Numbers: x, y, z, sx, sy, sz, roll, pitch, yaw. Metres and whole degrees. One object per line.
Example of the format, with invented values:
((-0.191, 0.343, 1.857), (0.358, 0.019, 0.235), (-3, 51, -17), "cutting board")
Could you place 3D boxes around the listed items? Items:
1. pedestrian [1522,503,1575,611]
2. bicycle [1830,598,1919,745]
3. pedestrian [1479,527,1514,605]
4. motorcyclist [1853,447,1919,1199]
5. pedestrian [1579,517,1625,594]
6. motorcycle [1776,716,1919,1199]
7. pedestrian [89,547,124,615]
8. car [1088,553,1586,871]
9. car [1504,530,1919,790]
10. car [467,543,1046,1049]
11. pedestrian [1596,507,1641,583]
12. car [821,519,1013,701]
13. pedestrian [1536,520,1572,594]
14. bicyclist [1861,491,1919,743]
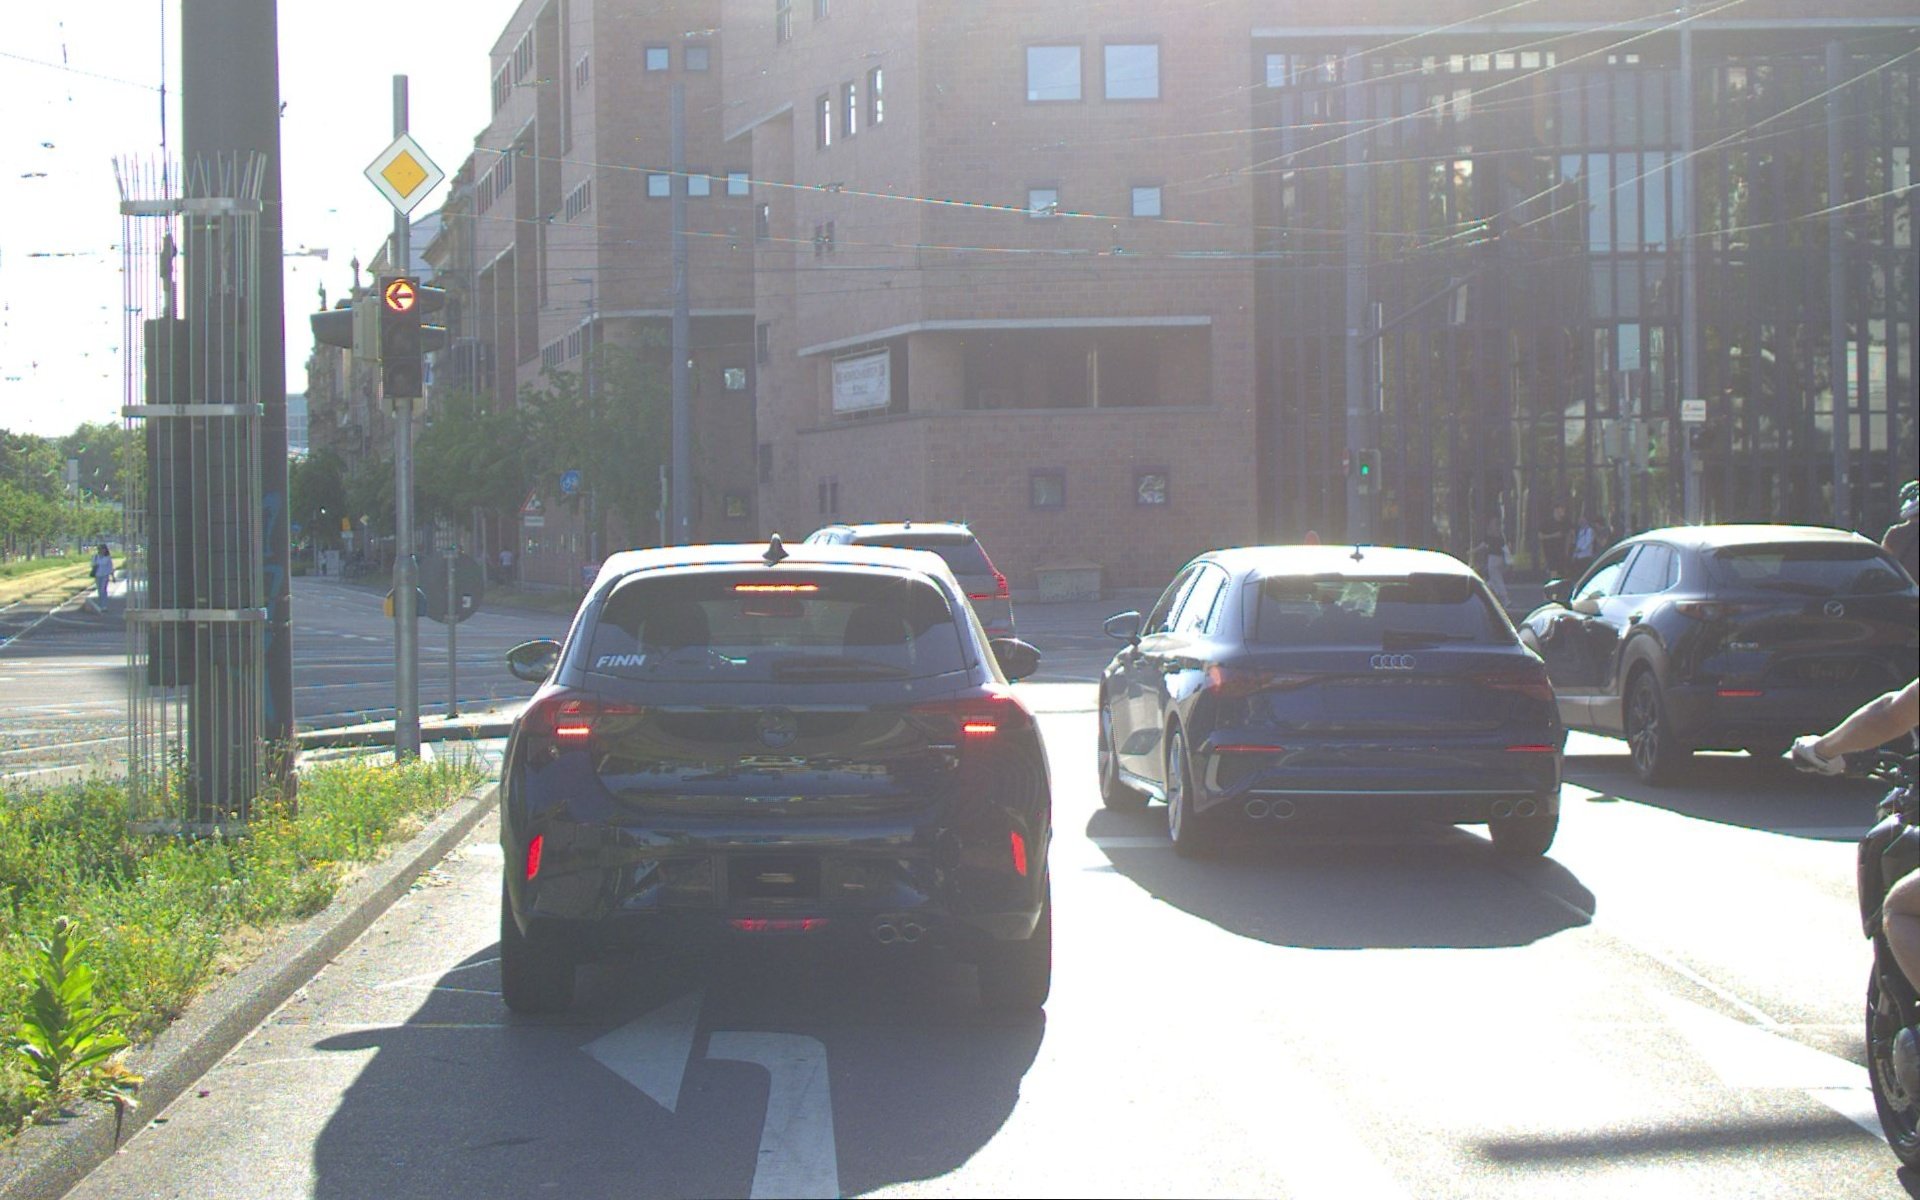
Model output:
((9.608, -0.704, 56.124), (0.707, 1.753, 0.560), (0, 1, 24), "pedestrian")
((6.963, 0.511, 24.839), (0.491, 0.994, 2.328), (-1, 1, -7), "bicycle")
((9.905, -0.625, 63.482), (0.529, 1.425, 0.598), (-1, 1, -2), "pedestrian")
((2.299, 0.450, 6.925), (0.745, 1.525, 1.021), (-1, 1, 2), "motorcyclist")
((13.555, -0.938, 72.592), (0.900, 1.611, 0.560), (-1, 1, 7), "pedestrian")
((2.314, 0.852, 7.199), (0.775, 1.111, 1.969), (-1, 1, 1), "motorcycle")
((-20.798, -0.469, 83.790), (0.742, 1.634, 0.768), (-1, 1, -11), "pedestrian")
((1.725, 0.460, 16.997), (1.737, 1.345, 4.001), (-1, 1, -4), "car")
((4.741, 0.302, 21.421), (1.807, 1.452, 4.001), (0, 1, -4), "car")
((-0.601, 0.532, 11.889), (1.649, 1.428, 4.000), (-1, 1, 0), "car")
((14.131, -1.176, 73.813), (0.900, 1.611, 0.560), (-1, 1, 7), "pedestrian")
((-0.408, 0.053, 33.340), (1.737, 1.645, 4.000), (-1, 1, 0), "car")
((12.976, -0.947, 75.108), (0.738, 1.611, 0.560), (-1, 1, 7), "pedestrian")
((6.955, 0.111, 24.831), (0.577, 1.785, 0.864), (-1, 1, -6), "bicyclist")
